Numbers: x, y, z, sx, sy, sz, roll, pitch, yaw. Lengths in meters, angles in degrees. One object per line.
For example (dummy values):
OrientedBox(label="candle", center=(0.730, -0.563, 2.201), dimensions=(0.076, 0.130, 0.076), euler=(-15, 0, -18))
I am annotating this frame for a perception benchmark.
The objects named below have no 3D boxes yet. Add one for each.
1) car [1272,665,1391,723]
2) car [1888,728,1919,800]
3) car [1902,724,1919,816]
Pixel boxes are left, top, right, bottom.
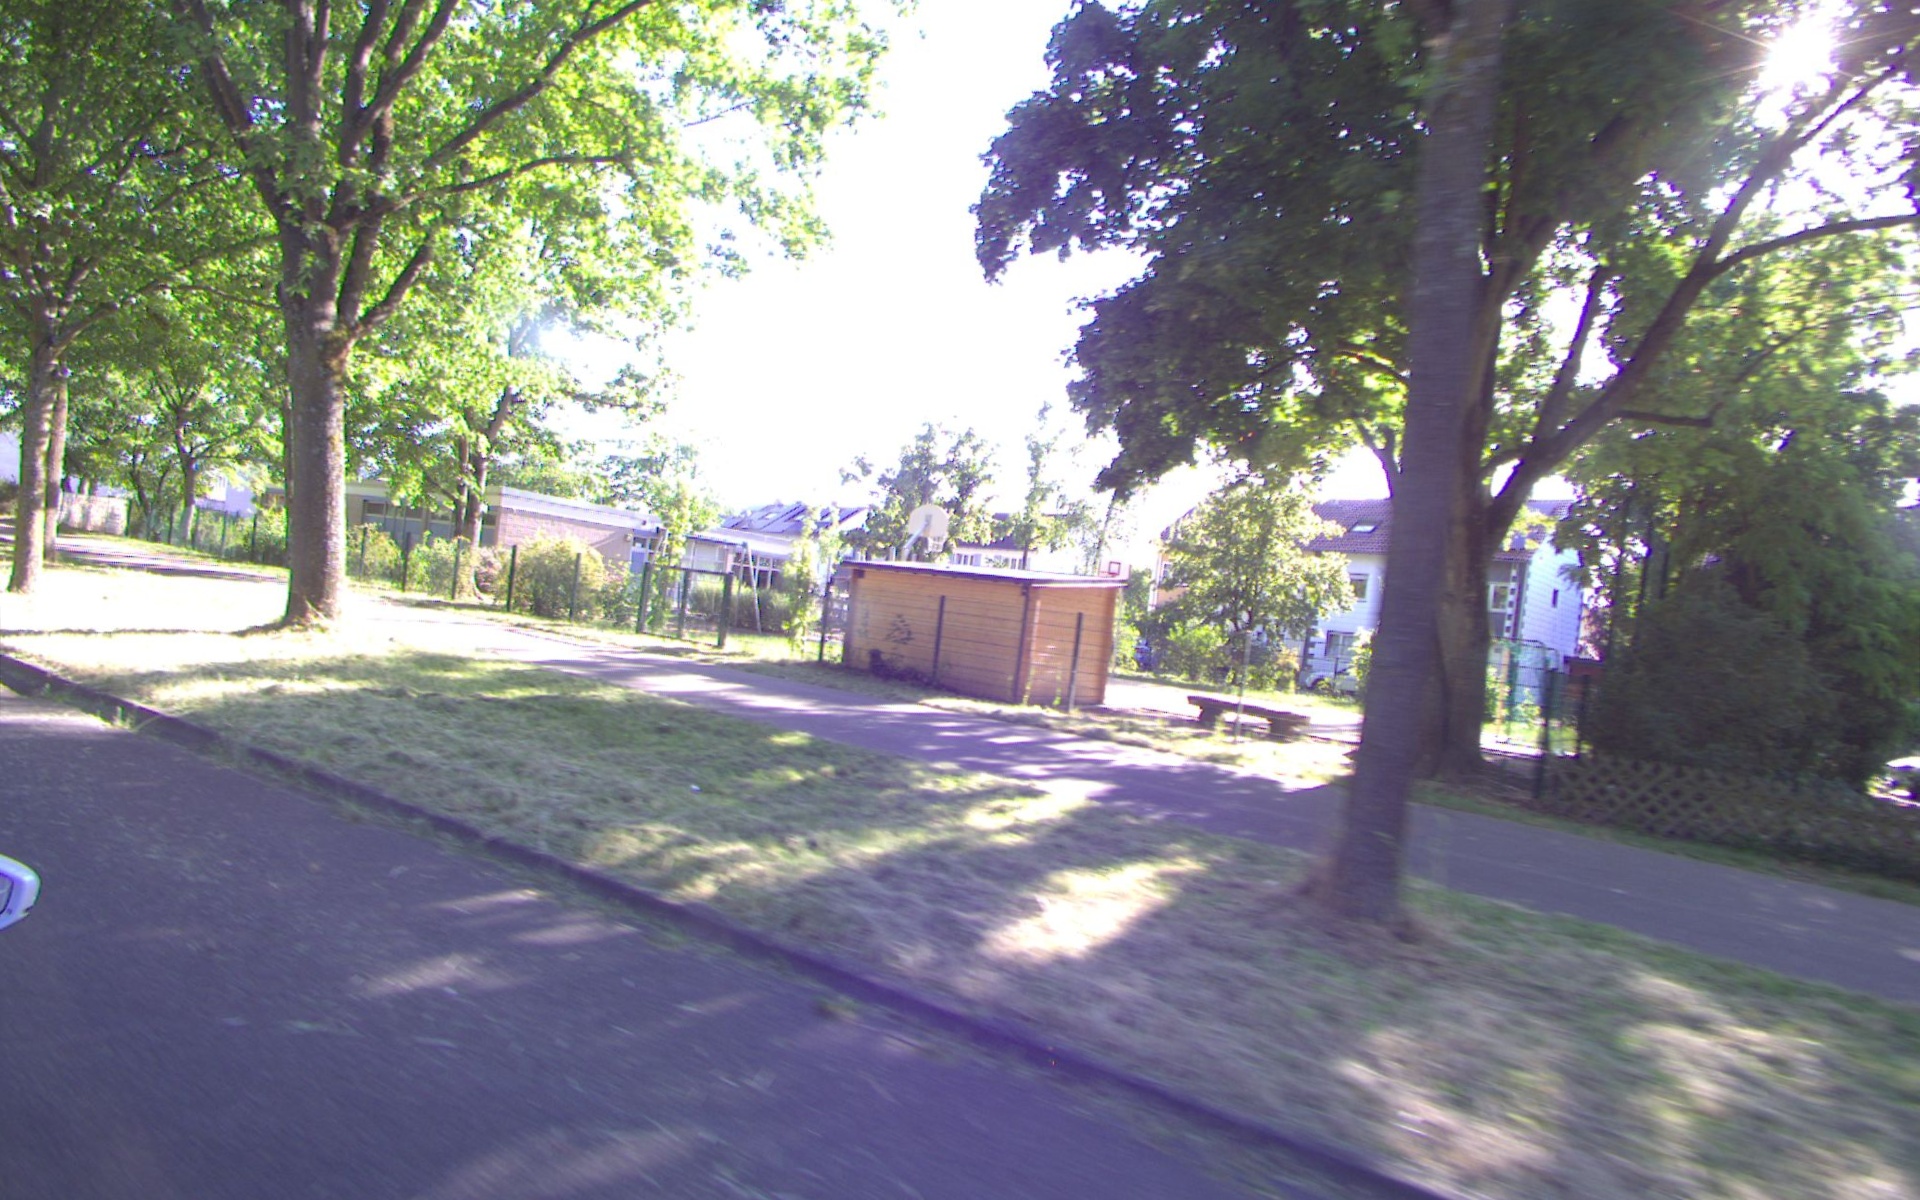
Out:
OrientedBox(label="car", center=(14.834, 3.732, 40.301), dimensions=(1.890, 1.771, 3.957), euler=(6, 0, -40))
OrientedBox(label="car", center=(22.783, 3.799, 21.671), dimensions=(3.946, 1.482, 1.989), euler=(5, -1, 43))
OrientedBox(label="car", center=(19.529, 3.311, 17.852), dimensions=(3.946, 1.638, 1.870), euler=(5, 0, 43))
